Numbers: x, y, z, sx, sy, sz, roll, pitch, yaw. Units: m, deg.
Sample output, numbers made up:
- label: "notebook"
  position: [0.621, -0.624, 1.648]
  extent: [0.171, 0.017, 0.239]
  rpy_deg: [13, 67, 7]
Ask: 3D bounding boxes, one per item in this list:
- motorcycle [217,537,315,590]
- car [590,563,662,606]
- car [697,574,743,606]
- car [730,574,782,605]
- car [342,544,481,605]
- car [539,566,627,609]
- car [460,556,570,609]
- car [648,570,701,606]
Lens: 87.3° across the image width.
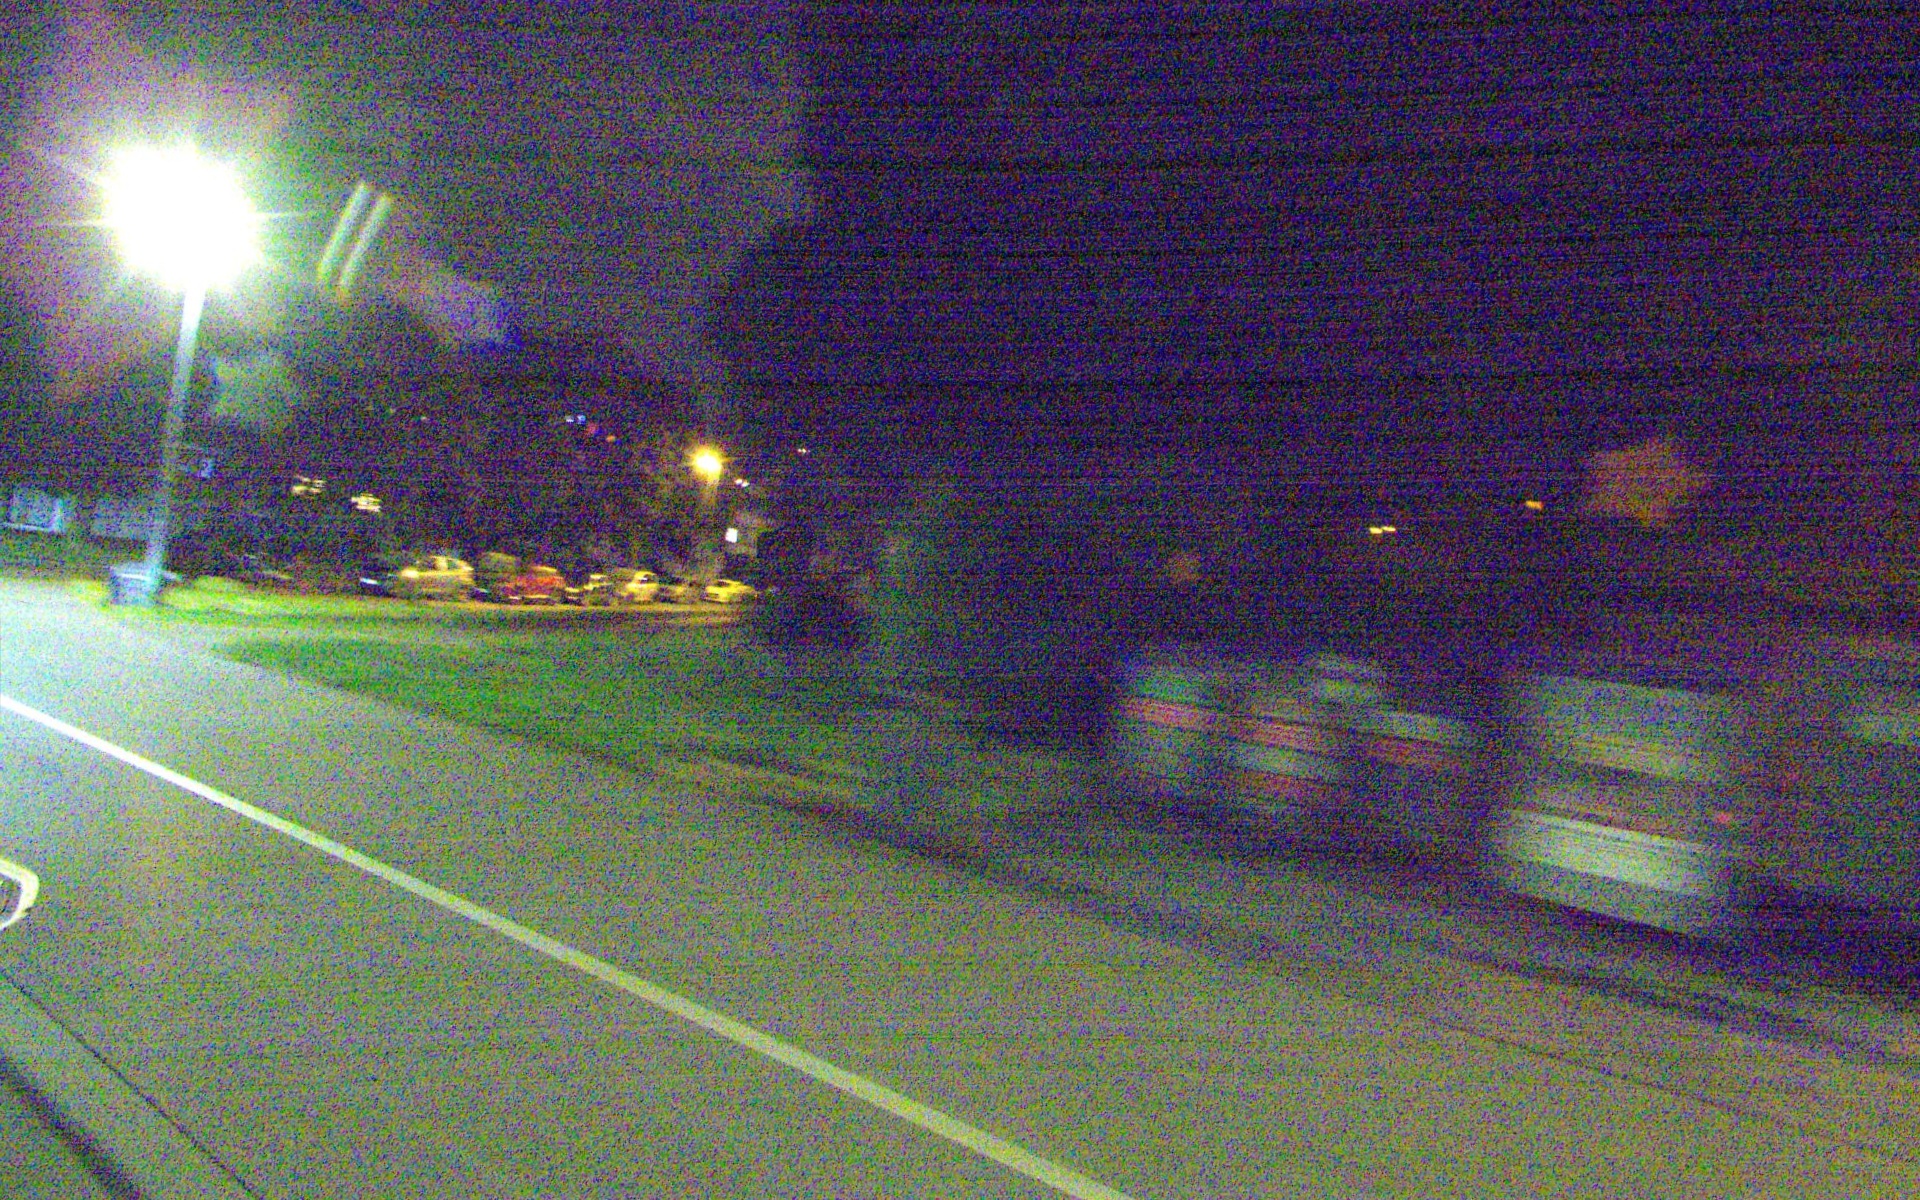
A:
- label: "motorcycle"
  position: [-19.739, -1.013, 28.667]
  extent: [0.698, 1.229, 2.267]
  rpy_deg: [7, -1, 16]
- label: "car"
  position: [-16.008, -0.685, 48.450]
  extent: [1.730, 1.691, 4.330]
  rpy_deg: [7, -1, 2]
- label: "car"
  position: [-15.297, -0.633, 64.256]
  extent: [1.636, 1.691, 3.431]
  rpy_deg: [7, -1, 6]
- label: "car"
  position: [-14.300, -0.707, 70.843]
  extent: [1.804, 1.691, 4.416]
  rpy_deg: [7, -1, 13]
- label: "car"
  position: [-17.793, -0.786, 32.823]
  extent: [1.829, 1.497, 3.633]
  rpy_deg: [7, -1, 16]
- label: "car"
  position: [-16.080, -0.479, 43.218]
  extent: [1.730, 1.492, 4.712]
  rpy_deg: [7, -1, 2]
- label: "car"
  position: [-16.559, -0.606, 37.657]
  extent: [1.582, 1.566, 4.035]
  rpy_deg: [7, -1, 11]
- label: "car"
  position: [-15.767, -0.616, 55.700]
  extent: [1.637, 1.691, 3.543]
  rpy_deg: [7, -1, 2]
